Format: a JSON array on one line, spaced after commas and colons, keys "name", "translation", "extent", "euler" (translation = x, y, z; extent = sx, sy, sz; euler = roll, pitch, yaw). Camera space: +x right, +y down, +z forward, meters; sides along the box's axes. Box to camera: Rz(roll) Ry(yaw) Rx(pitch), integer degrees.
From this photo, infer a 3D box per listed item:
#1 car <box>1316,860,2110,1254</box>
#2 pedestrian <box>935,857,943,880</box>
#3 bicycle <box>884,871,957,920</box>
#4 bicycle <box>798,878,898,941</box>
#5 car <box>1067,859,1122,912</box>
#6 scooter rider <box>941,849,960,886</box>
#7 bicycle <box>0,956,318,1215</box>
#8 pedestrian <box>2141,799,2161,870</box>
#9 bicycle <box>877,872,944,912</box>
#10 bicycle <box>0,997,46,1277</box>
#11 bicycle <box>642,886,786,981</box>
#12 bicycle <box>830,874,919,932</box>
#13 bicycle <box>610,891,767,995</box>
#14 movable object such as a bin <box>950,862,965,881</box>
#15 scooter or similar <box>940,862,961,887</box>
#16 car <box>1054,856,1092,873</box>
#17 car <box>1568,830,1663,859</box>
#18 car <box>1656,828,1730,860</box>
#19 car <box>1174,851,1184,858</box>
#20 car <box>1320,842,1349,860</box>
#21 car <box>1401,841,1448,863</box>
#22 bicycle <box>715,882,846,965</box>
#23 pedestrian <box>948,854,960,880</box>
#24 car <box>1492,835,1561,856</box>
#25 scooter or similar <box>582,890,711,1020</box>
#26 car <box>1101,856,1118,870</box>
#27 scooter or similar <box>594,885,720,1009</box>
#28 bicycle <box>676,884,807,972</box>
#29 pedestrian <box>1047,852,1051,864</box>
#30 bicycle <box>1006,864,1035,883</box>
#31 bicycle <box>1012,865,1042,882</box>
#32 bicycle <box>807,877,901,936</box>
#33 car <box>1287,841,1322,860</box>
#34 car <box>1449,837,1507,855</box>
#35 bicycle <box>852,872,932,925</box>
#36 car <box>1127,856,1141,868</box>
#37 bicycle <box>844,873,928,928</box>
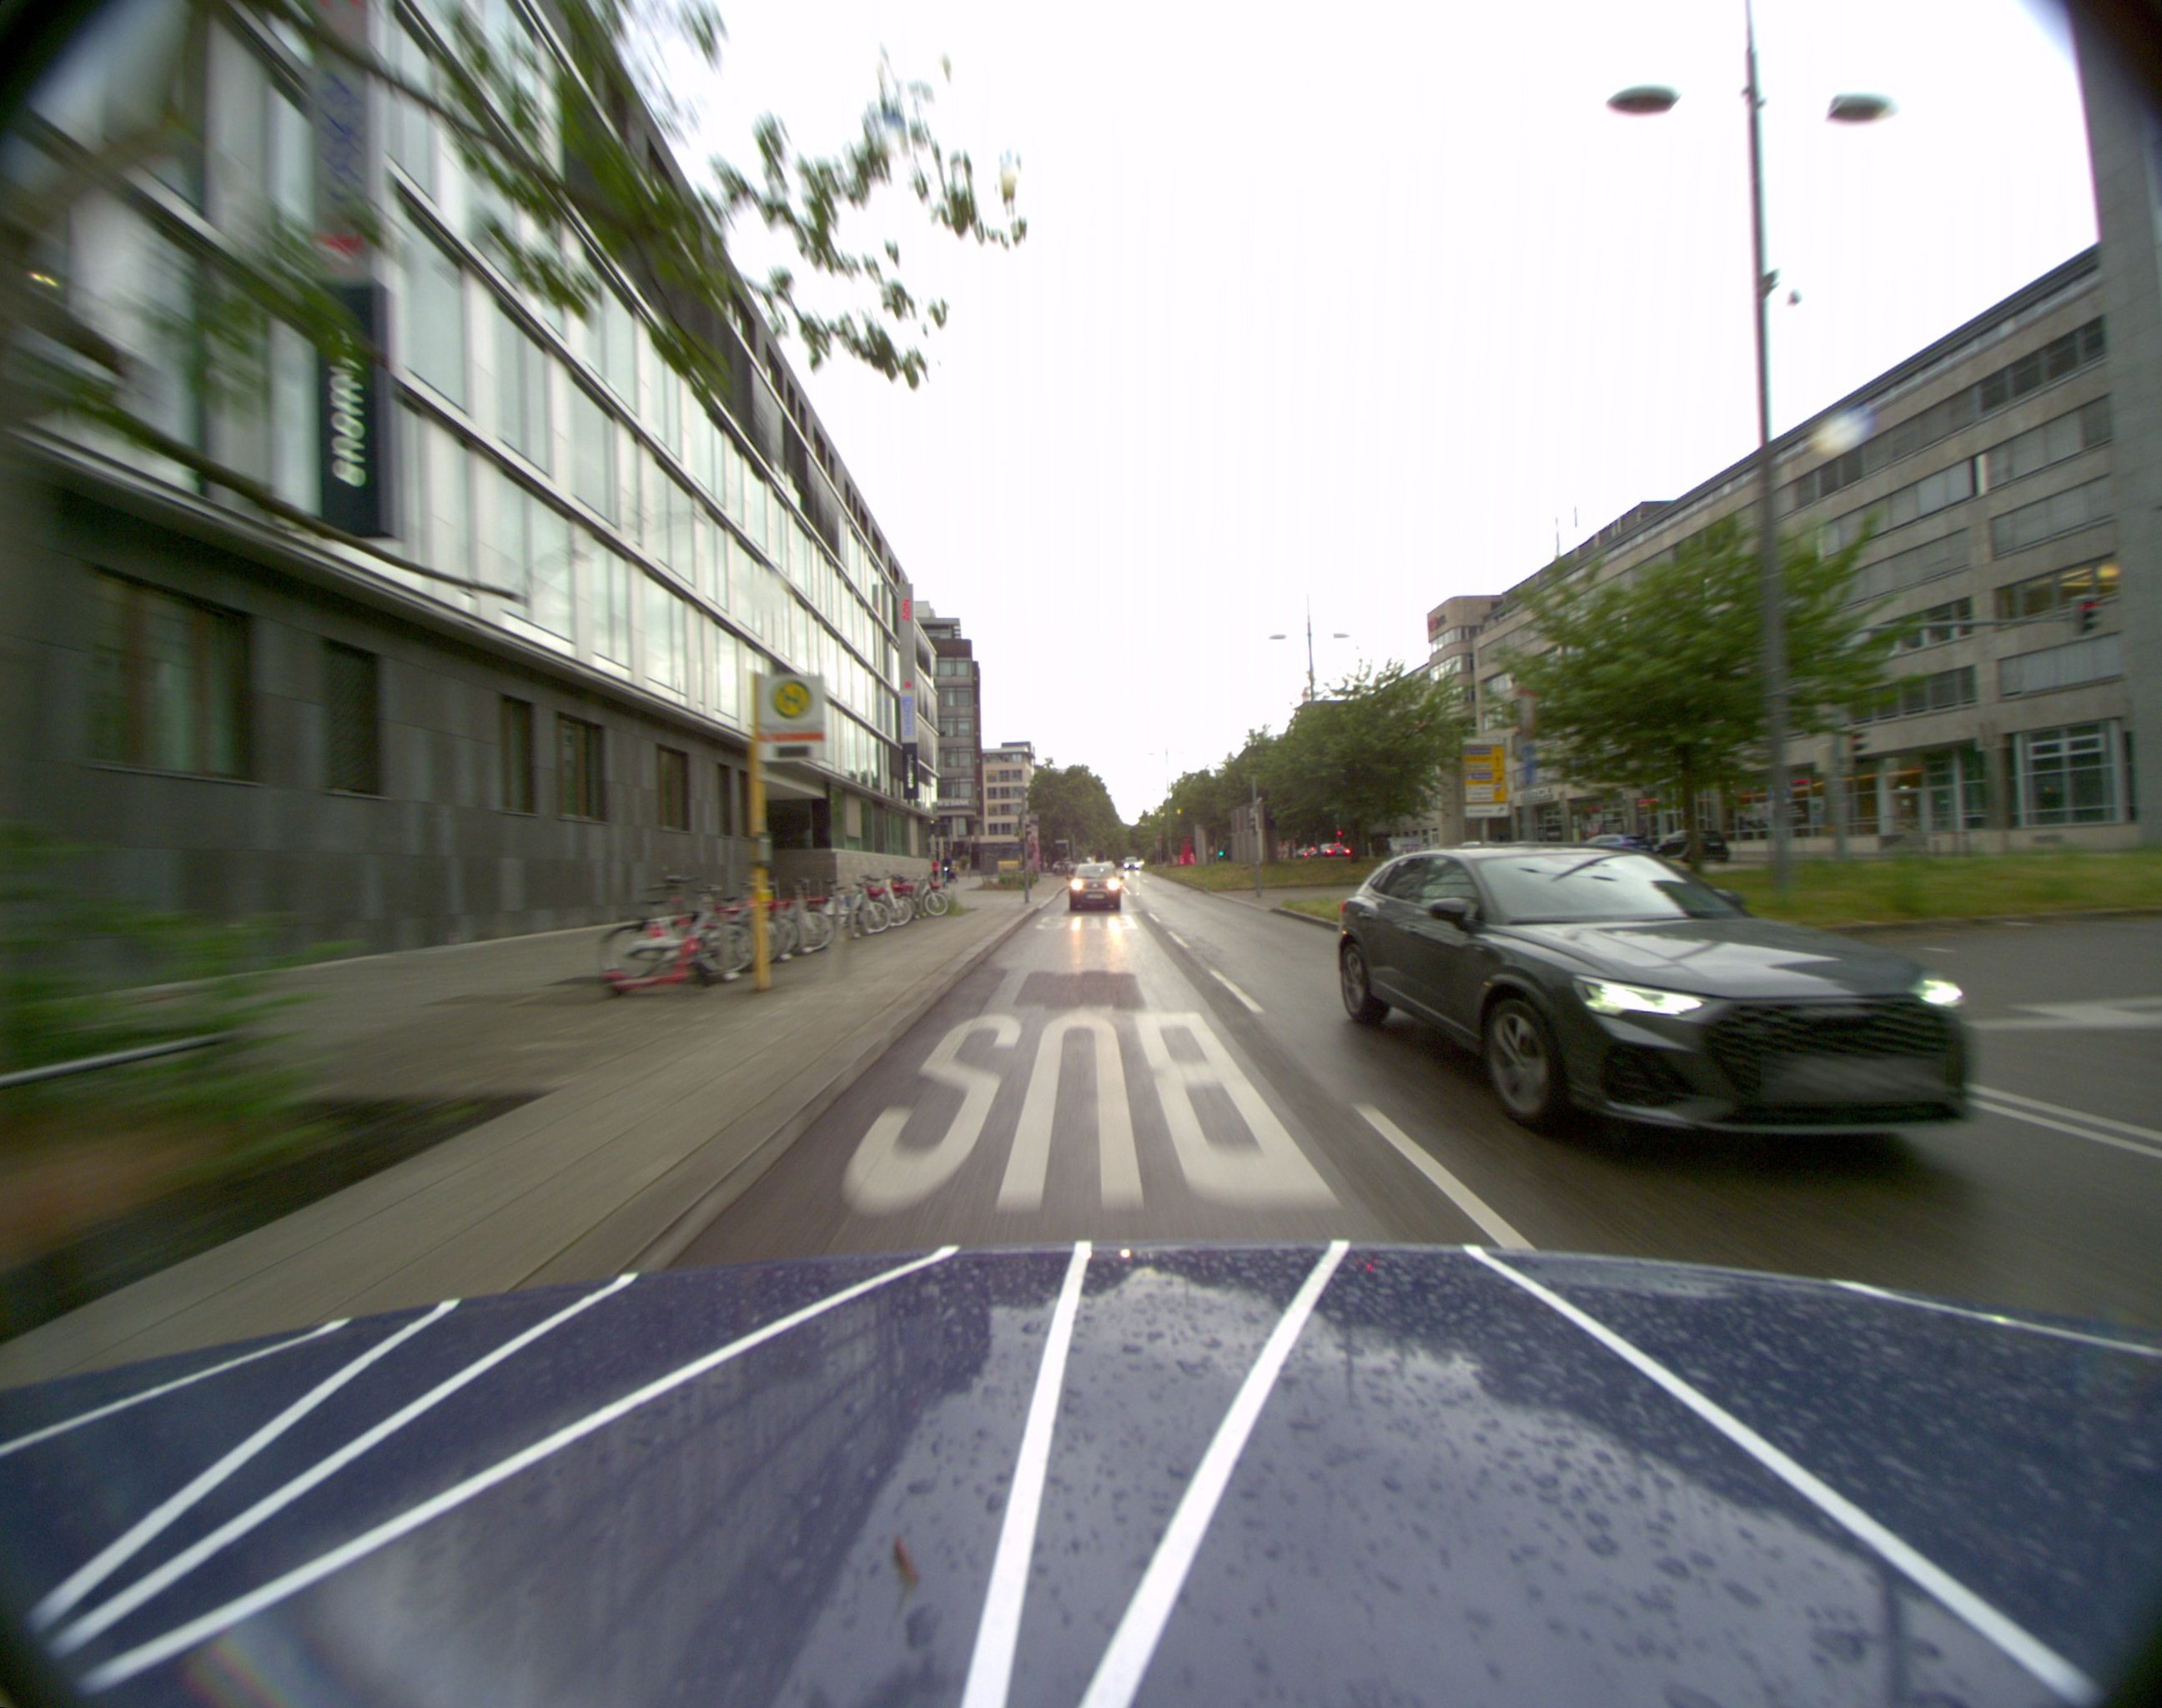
[{"name": "car", "translation": [3.217, 0.838, 5.234], "extent": [1.865, 1.509, 4.345], "euler": [-2, 0, 1]}, {"name": "pedestrian", "translation": [-10.165, 1.046, 54.521], "extent": [0.485, 1.689, 0.579], "euler": [0, 1, -1]}, {"name": "bicycle", "translation": [-4.059, 1.048, 19.337], "extent": [1.735, 1.176, 0.689], "euler": [-1, 0, -6]}, {"name": "bicycle", "translation": [-4.494, 1.057, 14.769], "extent": [1.735, 1.133, 0.689], "euler": [-1, 0, -6]}, {"name": "car", "translation": [0.472, 0.950, 24.574], "extent": [1.594, 1.501, 3.709], "euler": [-2, 0, 2]}, {"name": "scooter rider", "translation": [-7.153, 0.744, 41.556], "extent": [0.779, 2.009, 0.924], "euler": [-1, 0, 4]}, {"name": "bicycle", "translation": [-5.047, 1.136, 3.770], "extent": [1.799, 1.062, 0.556], "euler": [-3, 1, -4]}, {"name": "pedestrian", "translation": [28.833, -0.521, 19.900], "extent": [0.959, 1.870, 0.931], "euler": [-1, 1, -12]}, {"name": "bicycle", "translation": [-4.796, 1.071, 21.471], "extent": [1.735, 1.064, 0.689], "euler": [-1, 0, -6]}, {"name": "bicycle", "translation": [-5.086, 1.155, 2.714], "extent": [1.799, 1.062, 0.556], "euler": [-3, 1, -4]}, {"name": "bicycle", "translation": [-4.854, 1.035, 10.130], "extent": [1.539, 1.134, 0.689], "euler": [-2, 1, -6]}, {"name": "bicycle", "translation": [-4.444, 1.050, 16.421], "extent": [1.735, 1.176, 0.689], "euler": [-1, 0, -6]}, {"name": "bicycle", "translation": [-4.768, 1.061, 9.315], "extent": [1.539, 1.134, 0.662], "euler": [-2, 1, -6]}, {"name": "movable object such as a bin", "translation": [-8.649, 1.213, 53.323], "extent": [0.804, 1.258, 1.788], "euler": [0, 0, -1]}, {"name": "scooter or similar", "translation": [-7.145, 1.128, 41.564], "extent": [0.779, 1.298, 1.335], "euler": [-1, 0, 4]}, {"name": "car", "translation": [-1.022, 1.332, 95.639], "extent": [4.202, 1.801, 2.004], "euler": [-4, 0, 35]}, {"name": "car", "translation": [28.042, -0.469, 40.040], "extent": [1.680, 1.377, 4.319], "euler": [-4, 0, -4]}, {"name": "car", "translation": [28.237, -0.444, 35.137], "extent": [1.243, 1.377, 2.627], "euler": [-4, 0, 0]}, {"name": "car", "translation": [24.410, 0.053, 189.077], "extent": [2.072, 1.578, 4.107], "euler": [-4, 0, 1]}, {"name": "car", "translation": [20.185, -0.230, 60.586], "extent": [1.411, 1.377, 2.627], "euler": [-4, 0, 0]}, {"name": "car", "translation": [27.032, -0.156, 59.899], "extent": [1.575, 1.571, 4.106], "euler": [-4, 0, -4]}, {"name": "bicycle", "translation": [-4.581, 1.048, 11.676], "extent": [1.711, 1.134, 0.689], "euler": [-2, 1, -5]}, {"name": "pedestrian", "translation": [-9.116, 0.940, 54.564], "extent": [0.723, 1.820, 0.747], "euler": [0, 1, -1]}, {"name": "car", "translation": [27.250, -0.487, 46.642], "extent": [1.575, 1.116, 4.106], "euler": [-4, 0, -4]}, {"name": "scooter or similar", "translation": [-4.433, 1.021, 7.790], "extent": [1.063, 1.251, 0.302], "euler": [-2, 2, -6]}, {"name": "car", "translation": [3.755, 1.196, 101.931], "extent": [2.072, 1.578, 4.107], "euler": [-4, 0, 1]}, {"name": "scooter or similar", "translation": [-4.530, 0.984, 8.151], "extent": [1.109, 1.251, 0.302], "euler": [-2, 2, -6]}, {"name": "bicycle", "translation": [-4.840, 1.036, 10.917], "extent": [1.539, 1.134, 0.689], "euler": [-2, 1, -6]}, {"name": "pedestrian", "translation": [-4.787, 0.567, 113.681], "extent": [0.452, 1.692, 0.547], "euler": [-1, 1, 2]}, {"name": "bicycle", "translation": [-3.840, 1.211, 48.125], "extent": [1.797, 1.199, 0.669], "euler": [0, 0, -6]}, {"name": "bicycle", "translation": [-3.564, 1.263, 49.993], "extent": [1.876, 1.103, 0.670], "euler": [-1, 0, 1]}, {"name": "bicycle", "translation": [-4.644, 1.069, 15.650], "extent": [1.735, 1.133, 0.689], "euler": [-1, 0, -6]}, {"name": "car", "translation": [19.819, -0.291, 67.597], "extent": [1.880, 1.571, 4.107], "euler": [-4, 0, 1]}, {"name": "car", "translation": [27.118, -0.518, 52.101], "extent": [1.575, 1.116, 4.106], "euler": [-4, 0, -4]}, {"name": "bicycle", "translation": [-4.493, 1.051, 18.162], "extent": [1.735, 1.176, 0.689], "euler": [-1, 0, -6]}, {"name": "car", "translation": [7.116, 1.070, 103.006], "extent": [1.605, 1.377, 3.020], "euler": [-4, 0, 0]}, {"name": "bicycle", "translation": [-4.425, 1.051, 17.328], "extent": [1.735, 1.176, 0.689], "euler": [-1, 0, -6]}]
